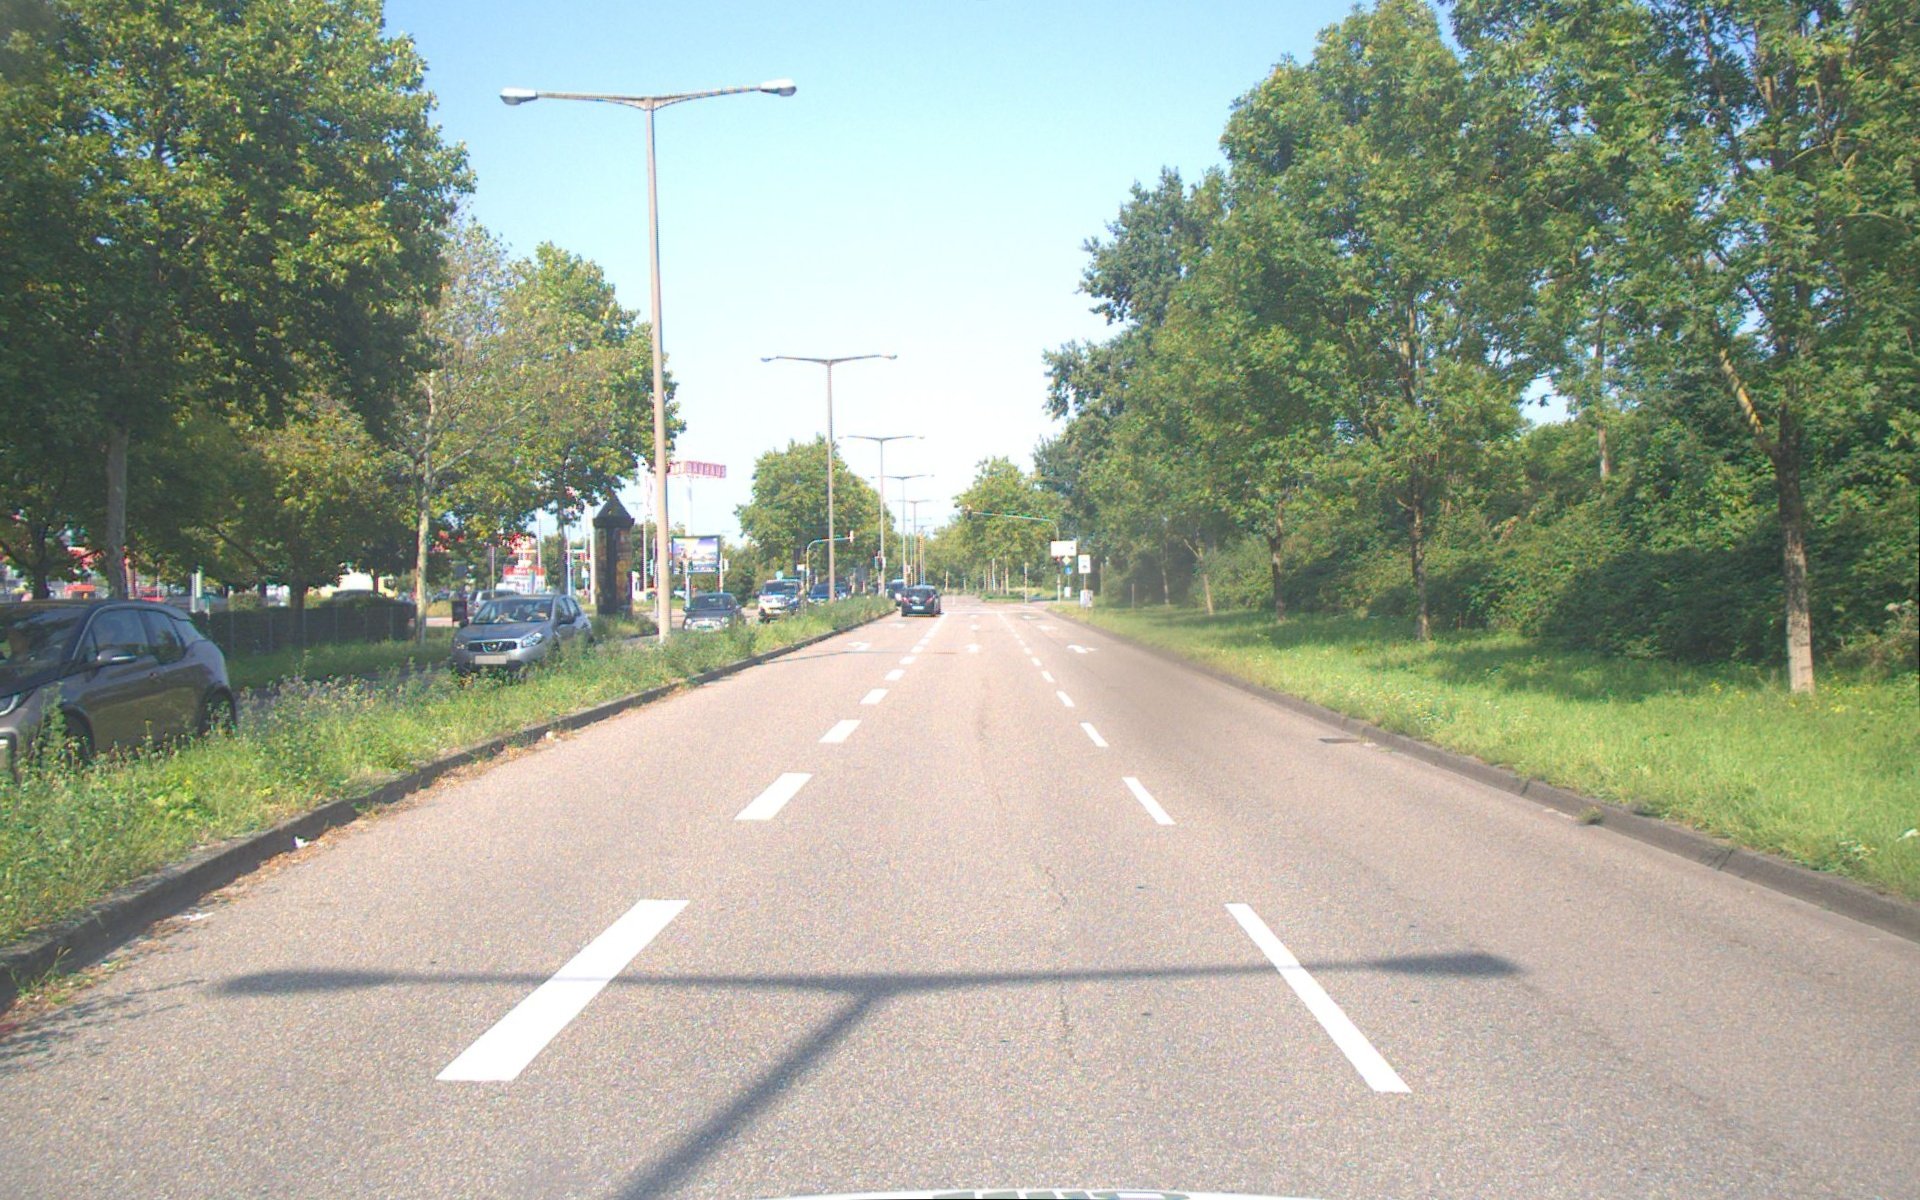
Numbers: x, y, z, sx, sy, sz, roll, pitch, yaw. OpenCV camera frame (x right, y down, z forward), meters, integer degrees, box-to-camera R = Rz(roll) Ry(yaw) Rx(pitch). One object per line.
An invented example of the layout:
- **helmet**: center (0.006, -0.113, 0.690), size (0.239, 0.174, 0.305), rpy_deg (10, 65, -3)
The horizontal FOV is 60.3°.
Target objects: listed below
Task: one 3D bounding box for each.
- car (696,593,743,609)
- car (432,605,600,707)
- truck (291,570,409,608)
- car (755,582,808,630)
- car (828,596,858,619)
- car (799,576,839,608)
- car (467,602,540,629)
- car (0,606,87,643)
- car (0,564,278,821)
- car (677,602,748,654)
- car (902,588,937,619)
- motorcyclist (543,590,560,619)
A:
- **car**: center (-18.593, 0.051, 127.946), size (3.303, 1.156, 1.494), rpy_deg (-2, 0, 9)
- **car**: center (-7.808, 0.930, 29.480), size (1.841, 1.621, 4.108), rpy_deg (-1, 0, 0)
- **truck**: center (-52.414, -0.954, 142.211), size (8.913, 3.009, 3.470), rpy_deg (-2, 0, -36)
- **car**: center (-8.023, 0.258, 74.585), size (1.892, 2.063, 4.566), rpy_deg (-1, 0, 0)
- **car**: center (-8.200, 0.525, 116.041), size (1.736, 1.601, 4.000), rpy_deg (0, 0, 1)
- **car**: center (-8.305, -0.475, 98.036), size (1.953, 1.735, 4.503), rpy_deg (-4, 0, -1)
- **car**: center (-25.245, 0.836, 91.486), size (3.661, 1.468, 1.448), rpy_deg (0, 0, -36)
- **car**: center (-42.886, 1.130, 77.304), size (3.453, 1.608, 1.705), rpy_deg (-1, 0, -36)
- **car**: center (-7.567, 0.691, 13.686), size (1.953, 1.790, 4.307), rpy_deg (-3, 0, 1)
- **car**: center (-7.548, 0.826, 50.681), size (1.642, 1.512, 3.492), rpy_deg (0, 0, 0)
- **car**: center (-2.035, 0.170, 84.125), size (1.657, 1.512, 4.000), rpy_deg (0, 0, 0)
- **motorcyclist**: center (-22.257, 0.231, 90.071), size (0.676, 1.599, 0.675), rpy_deg (0, 0, -35)
